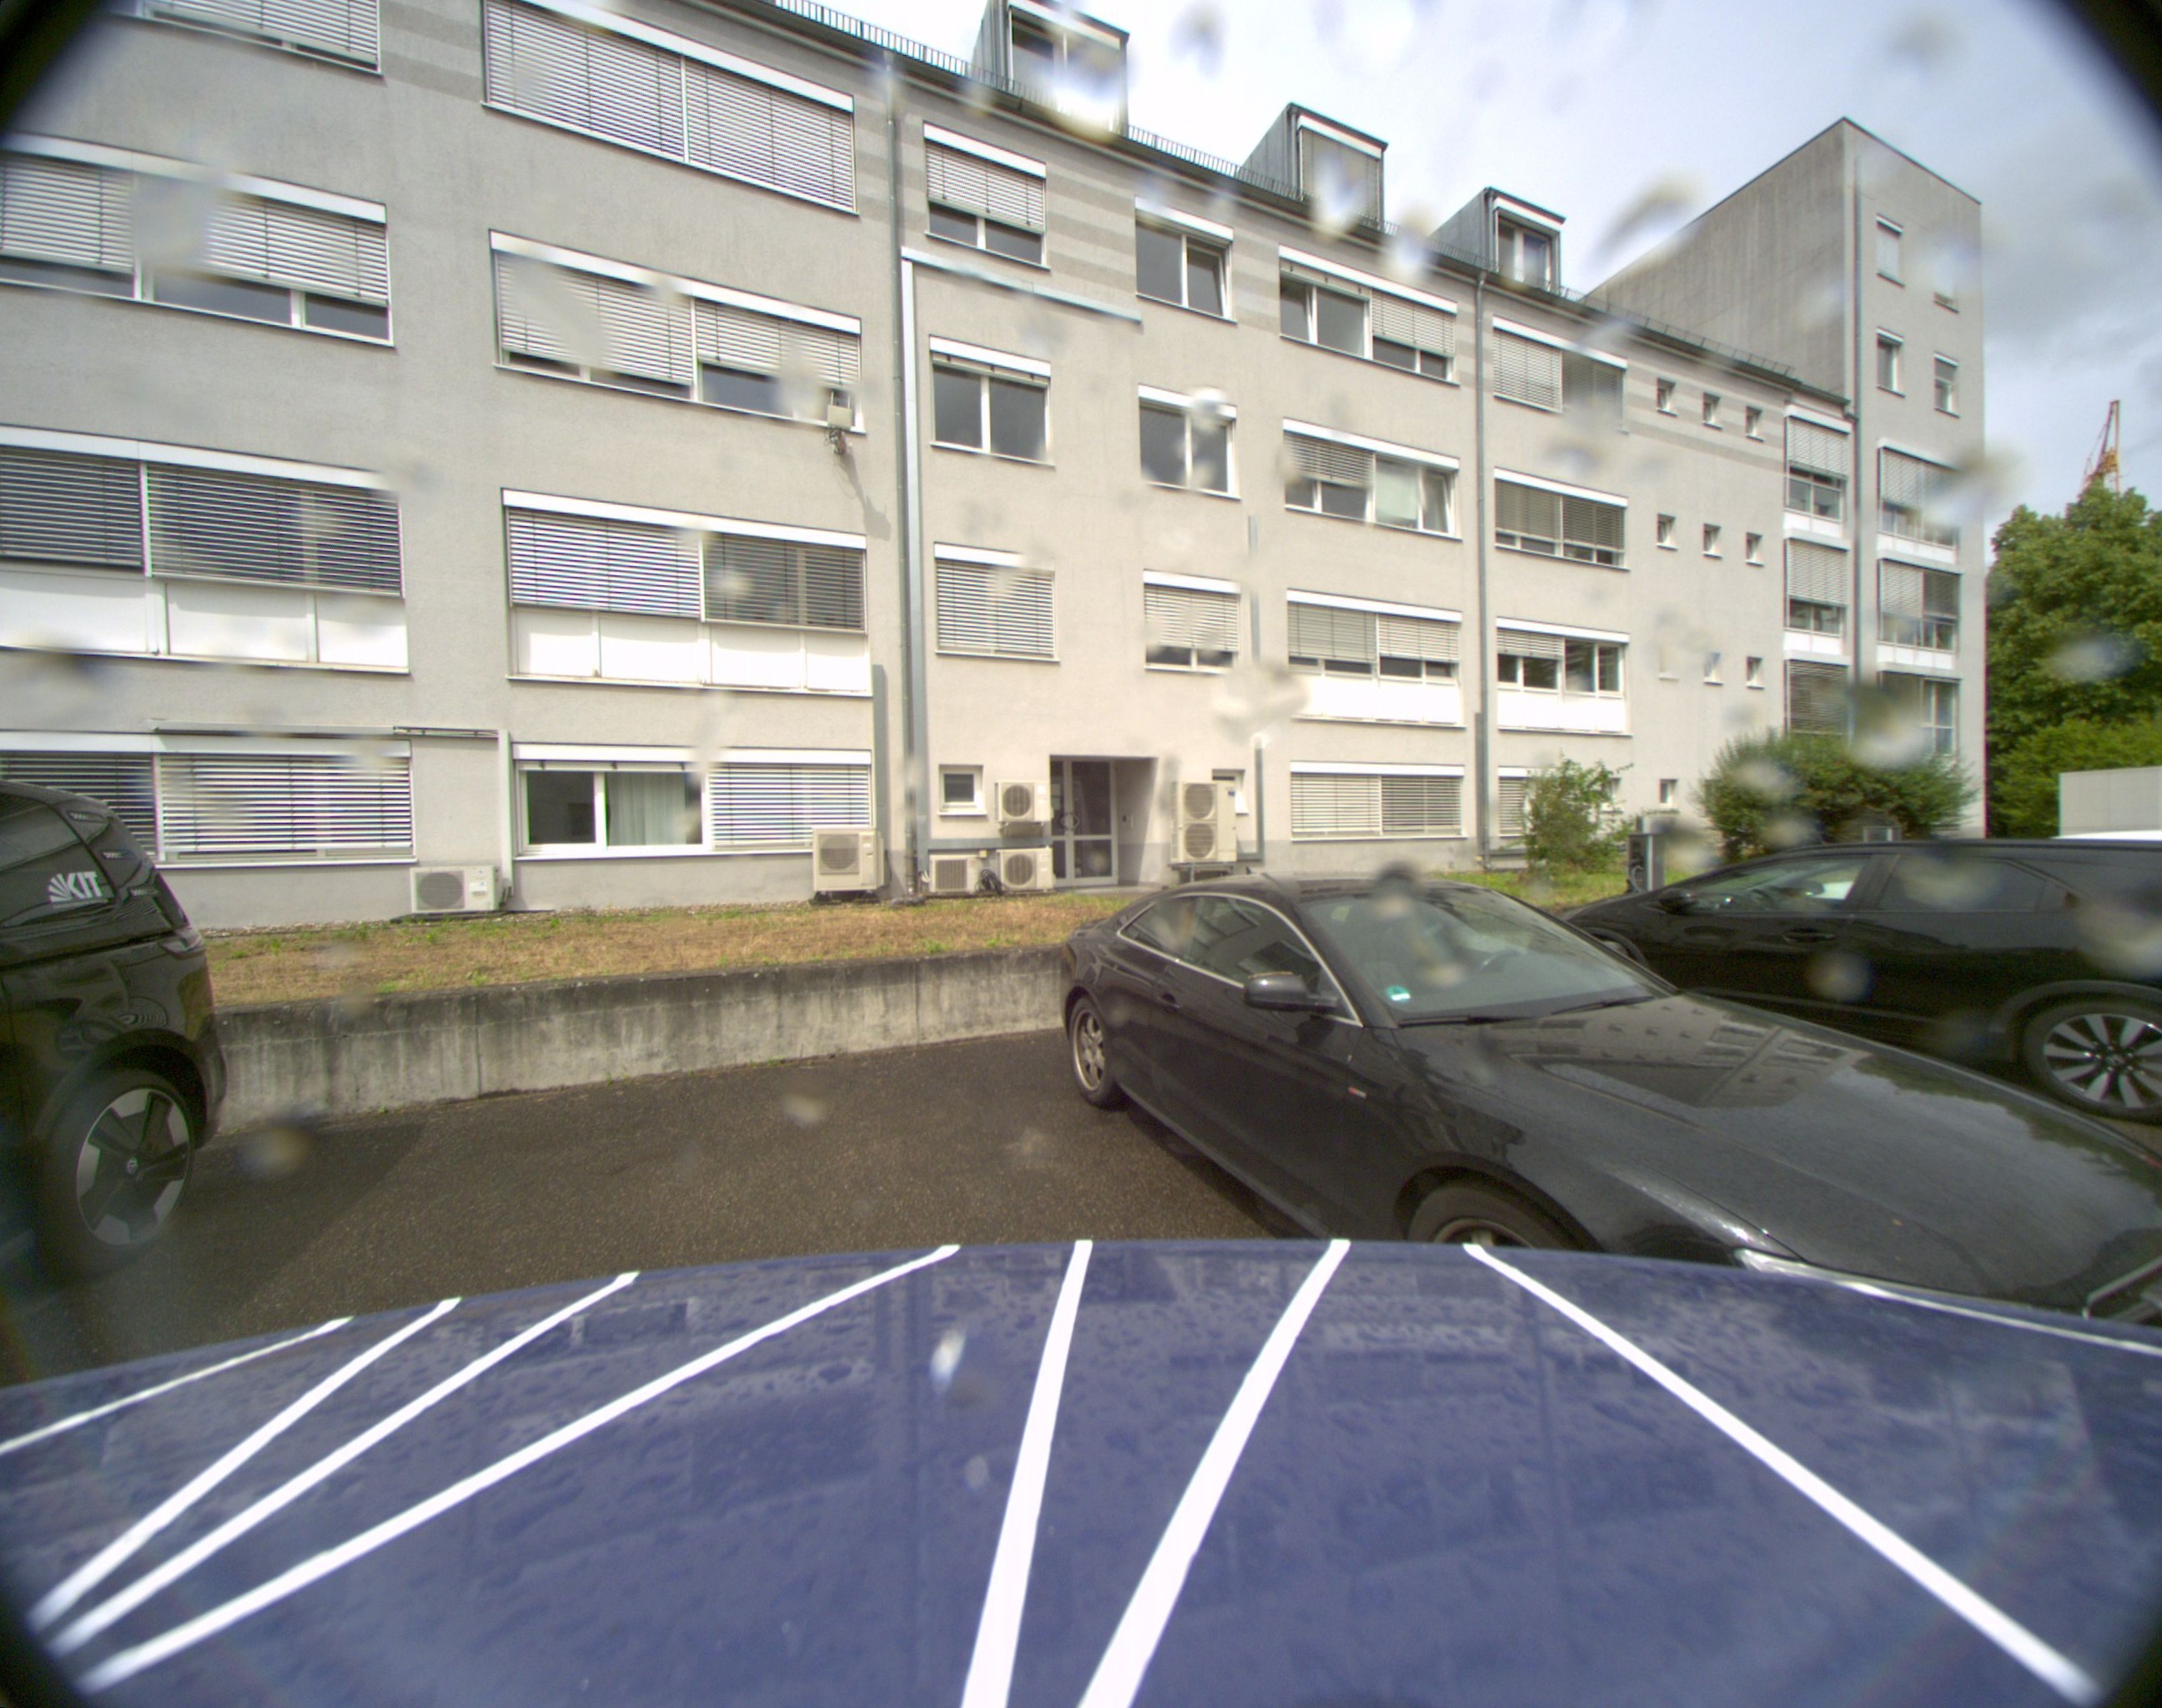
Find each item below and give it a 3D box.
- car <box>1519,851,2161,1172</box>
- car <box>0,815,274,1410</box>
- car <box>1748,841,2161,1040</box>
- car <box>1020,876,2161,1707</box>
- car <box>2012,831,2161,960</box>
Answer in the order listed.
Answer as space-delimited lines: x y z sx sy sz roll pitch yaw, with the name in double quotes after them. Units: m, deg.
5.547 0.764 5.119 1.765 1.434 4.307 -3 2 -23 "car"
-3.933 0.855 1.088 1.973 1.854 4.738 -2 2 -23 "car"
8.687 0.636 6.530 1.698 1.434 4.117 -3 2 -21 "car"
1.261 0.916 3.340 1.765 1.344 4.520 -3 2 -22 "car"
13.586 0.486 8.091 1.765 1.434 4.307 -3 2 -22 "car"
